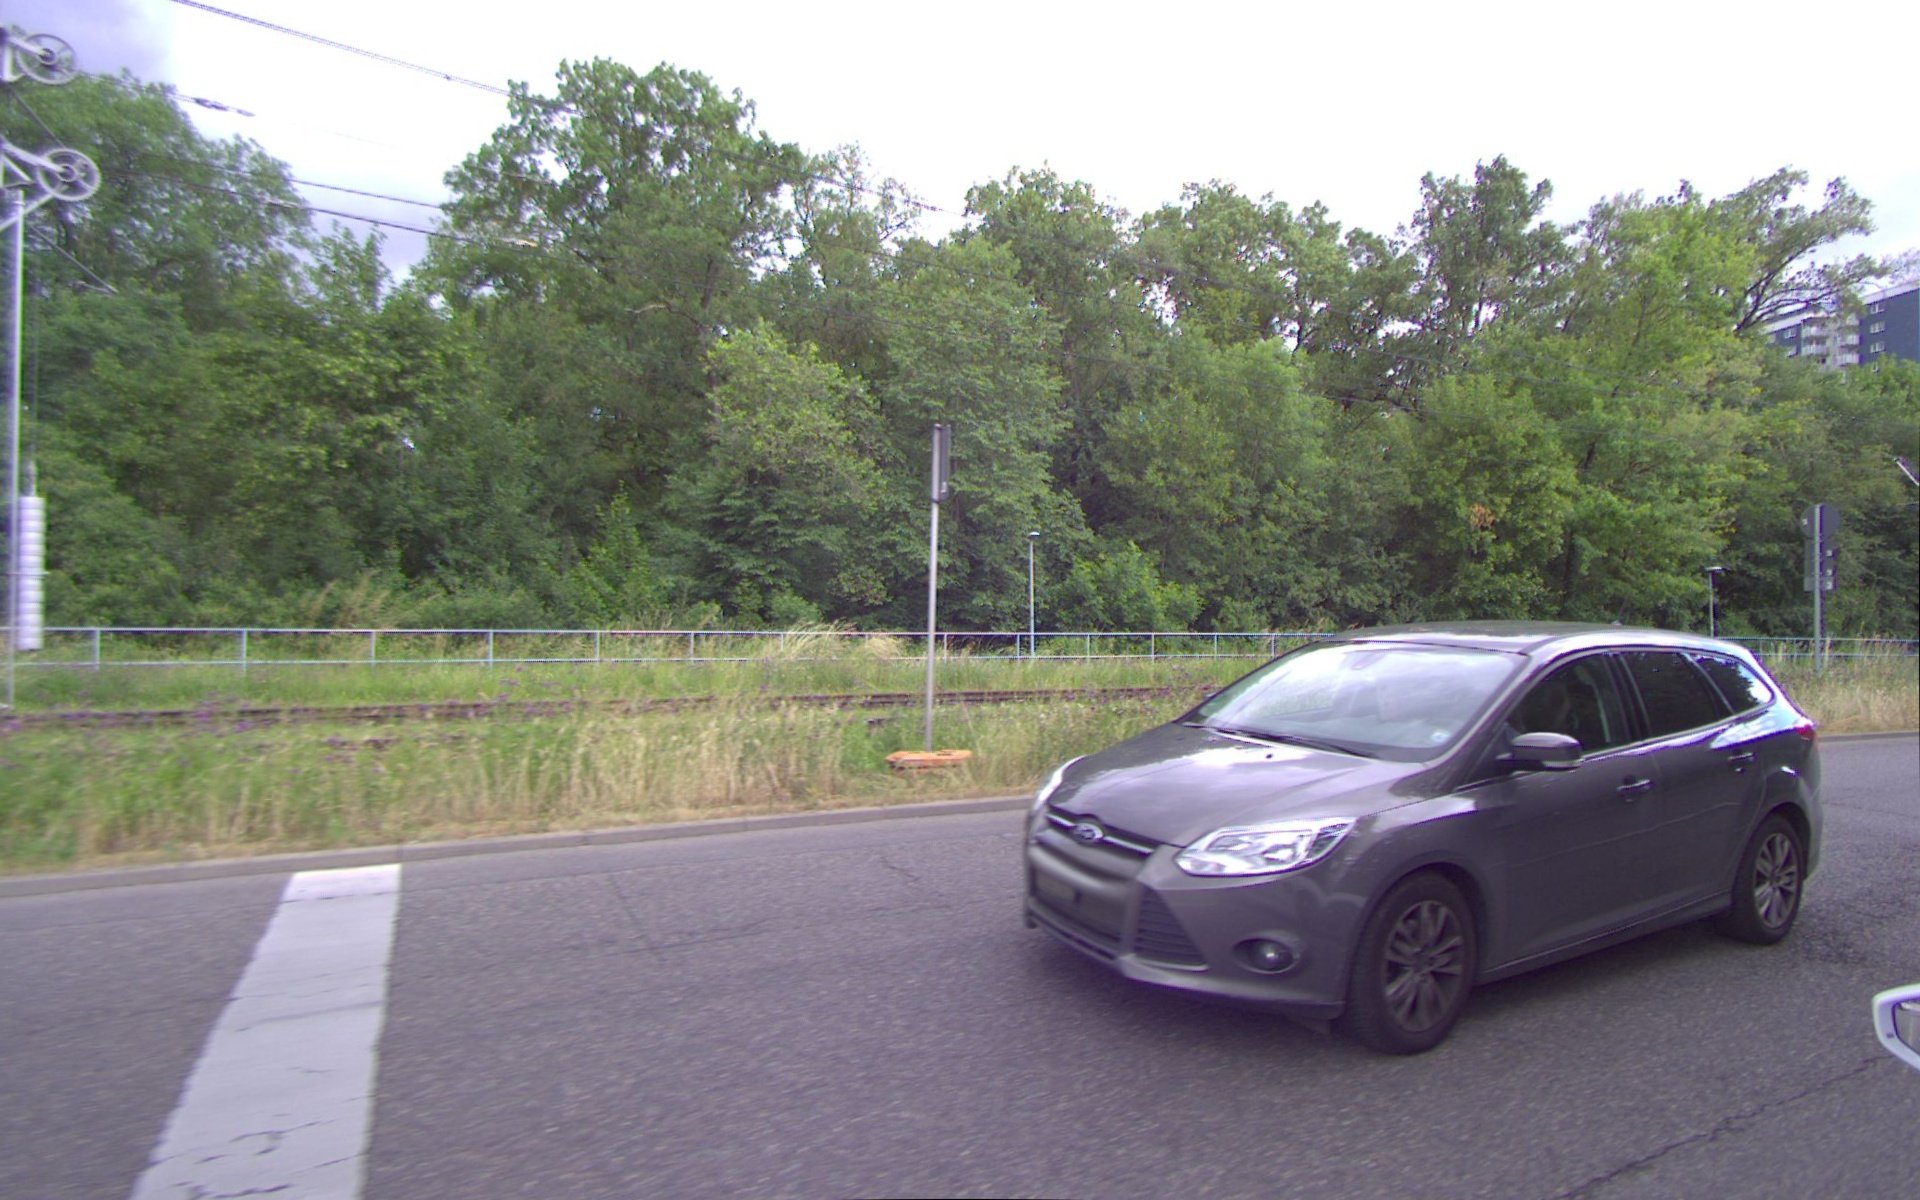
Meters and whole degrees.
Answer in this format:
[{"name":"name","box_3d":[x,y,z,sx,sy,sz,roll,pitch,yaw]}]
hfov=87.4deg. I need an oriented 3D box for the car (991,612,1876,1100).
[{"name":"car","box_3d":[2.462,0.824,4.884,4.377,1.453,1.747,2,-1,-31]}]
